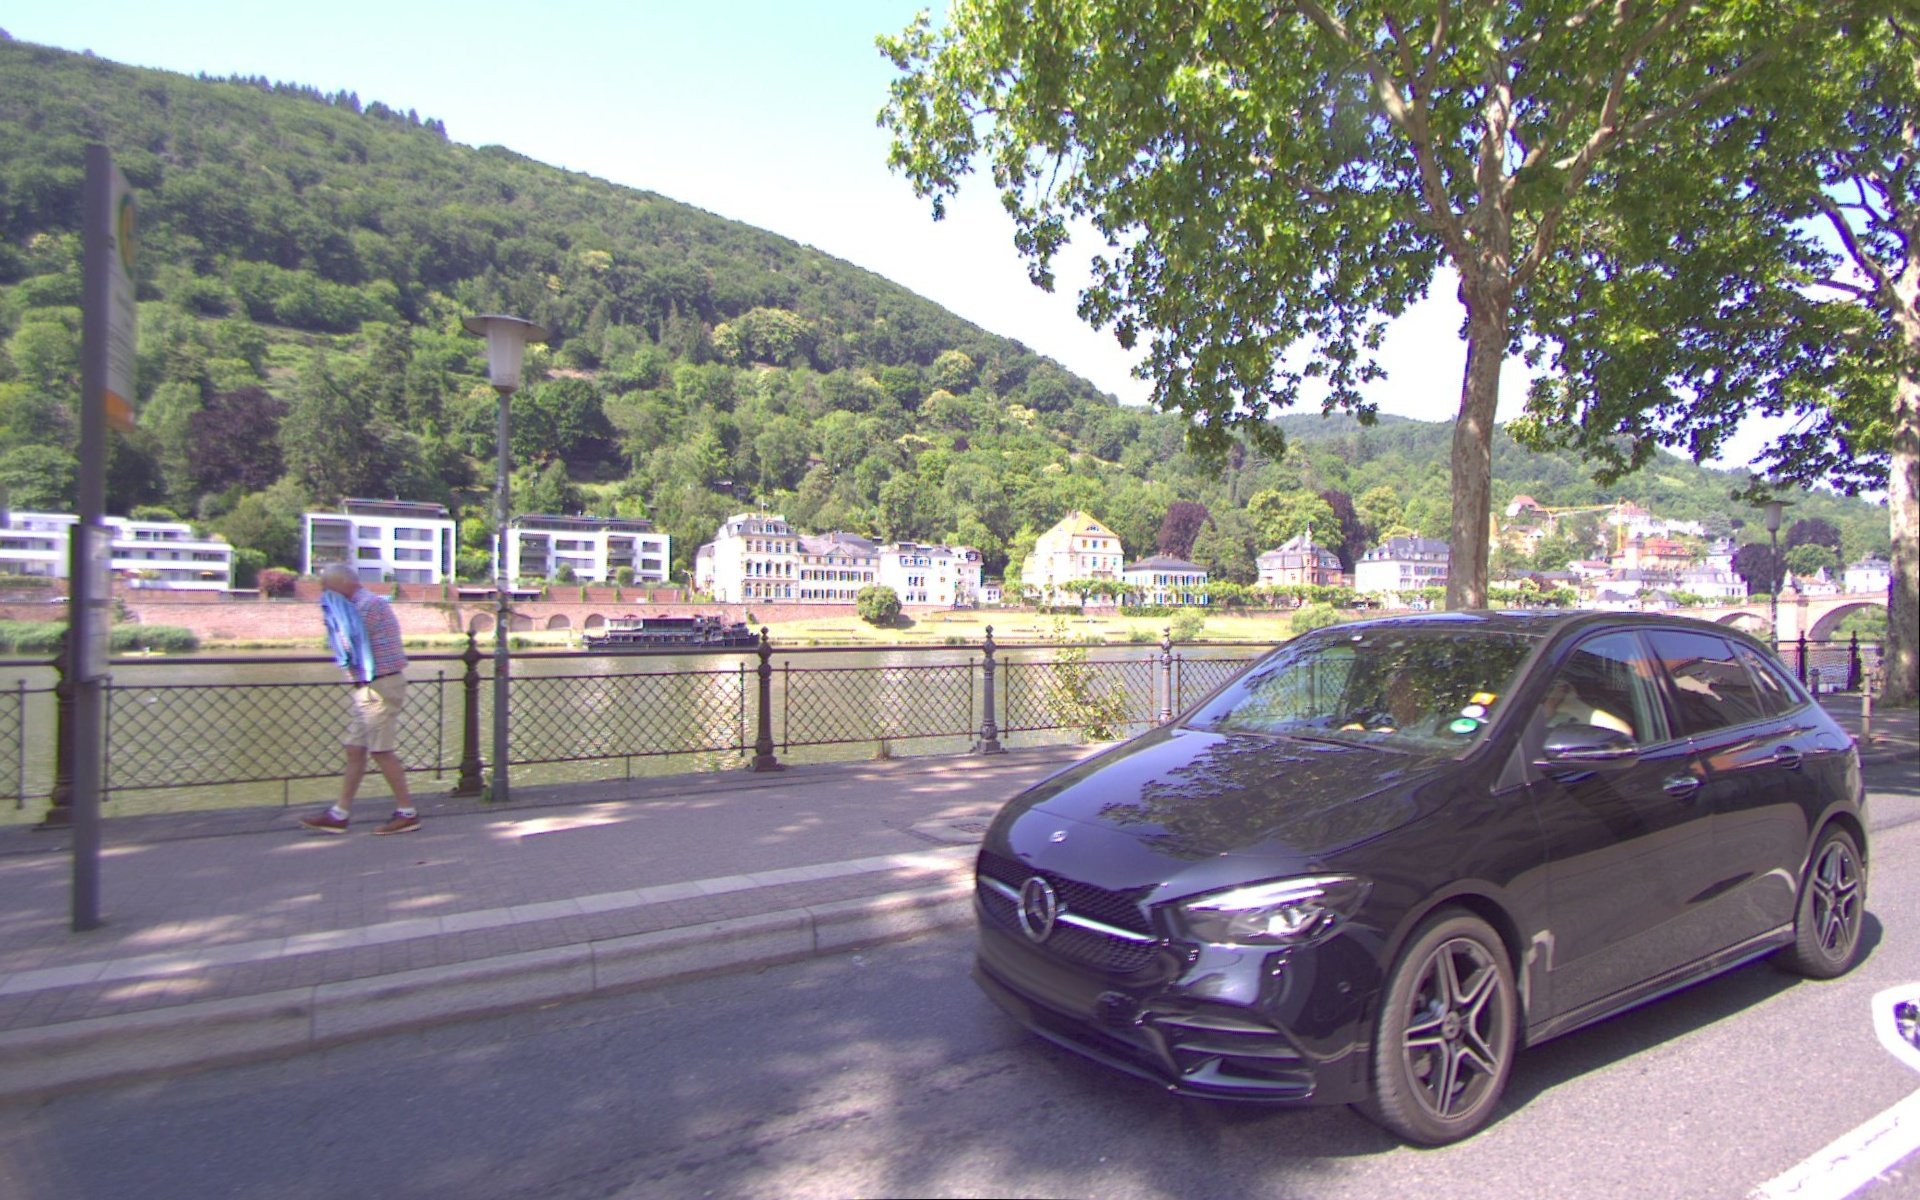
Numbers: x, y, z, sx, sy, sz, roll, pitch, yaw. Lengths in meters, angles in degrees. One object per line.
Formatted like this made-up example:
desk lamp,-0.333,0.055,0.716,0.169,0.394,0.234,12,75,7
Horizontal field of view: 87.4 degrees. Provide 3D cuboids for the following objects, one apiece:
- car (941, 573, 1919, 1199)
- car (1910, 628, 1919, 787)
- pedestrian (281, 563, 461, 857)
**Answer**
car,2.226,0.790,4.217,4.351,1.538,1.694,1,-3,-29
car,11.528,1.024,10.076,4.352,1.538,1.727,0,-2,-30
pedestrian,-3.889,0.682,6.675,0.961,1.787,0.708,1,-1,-31
